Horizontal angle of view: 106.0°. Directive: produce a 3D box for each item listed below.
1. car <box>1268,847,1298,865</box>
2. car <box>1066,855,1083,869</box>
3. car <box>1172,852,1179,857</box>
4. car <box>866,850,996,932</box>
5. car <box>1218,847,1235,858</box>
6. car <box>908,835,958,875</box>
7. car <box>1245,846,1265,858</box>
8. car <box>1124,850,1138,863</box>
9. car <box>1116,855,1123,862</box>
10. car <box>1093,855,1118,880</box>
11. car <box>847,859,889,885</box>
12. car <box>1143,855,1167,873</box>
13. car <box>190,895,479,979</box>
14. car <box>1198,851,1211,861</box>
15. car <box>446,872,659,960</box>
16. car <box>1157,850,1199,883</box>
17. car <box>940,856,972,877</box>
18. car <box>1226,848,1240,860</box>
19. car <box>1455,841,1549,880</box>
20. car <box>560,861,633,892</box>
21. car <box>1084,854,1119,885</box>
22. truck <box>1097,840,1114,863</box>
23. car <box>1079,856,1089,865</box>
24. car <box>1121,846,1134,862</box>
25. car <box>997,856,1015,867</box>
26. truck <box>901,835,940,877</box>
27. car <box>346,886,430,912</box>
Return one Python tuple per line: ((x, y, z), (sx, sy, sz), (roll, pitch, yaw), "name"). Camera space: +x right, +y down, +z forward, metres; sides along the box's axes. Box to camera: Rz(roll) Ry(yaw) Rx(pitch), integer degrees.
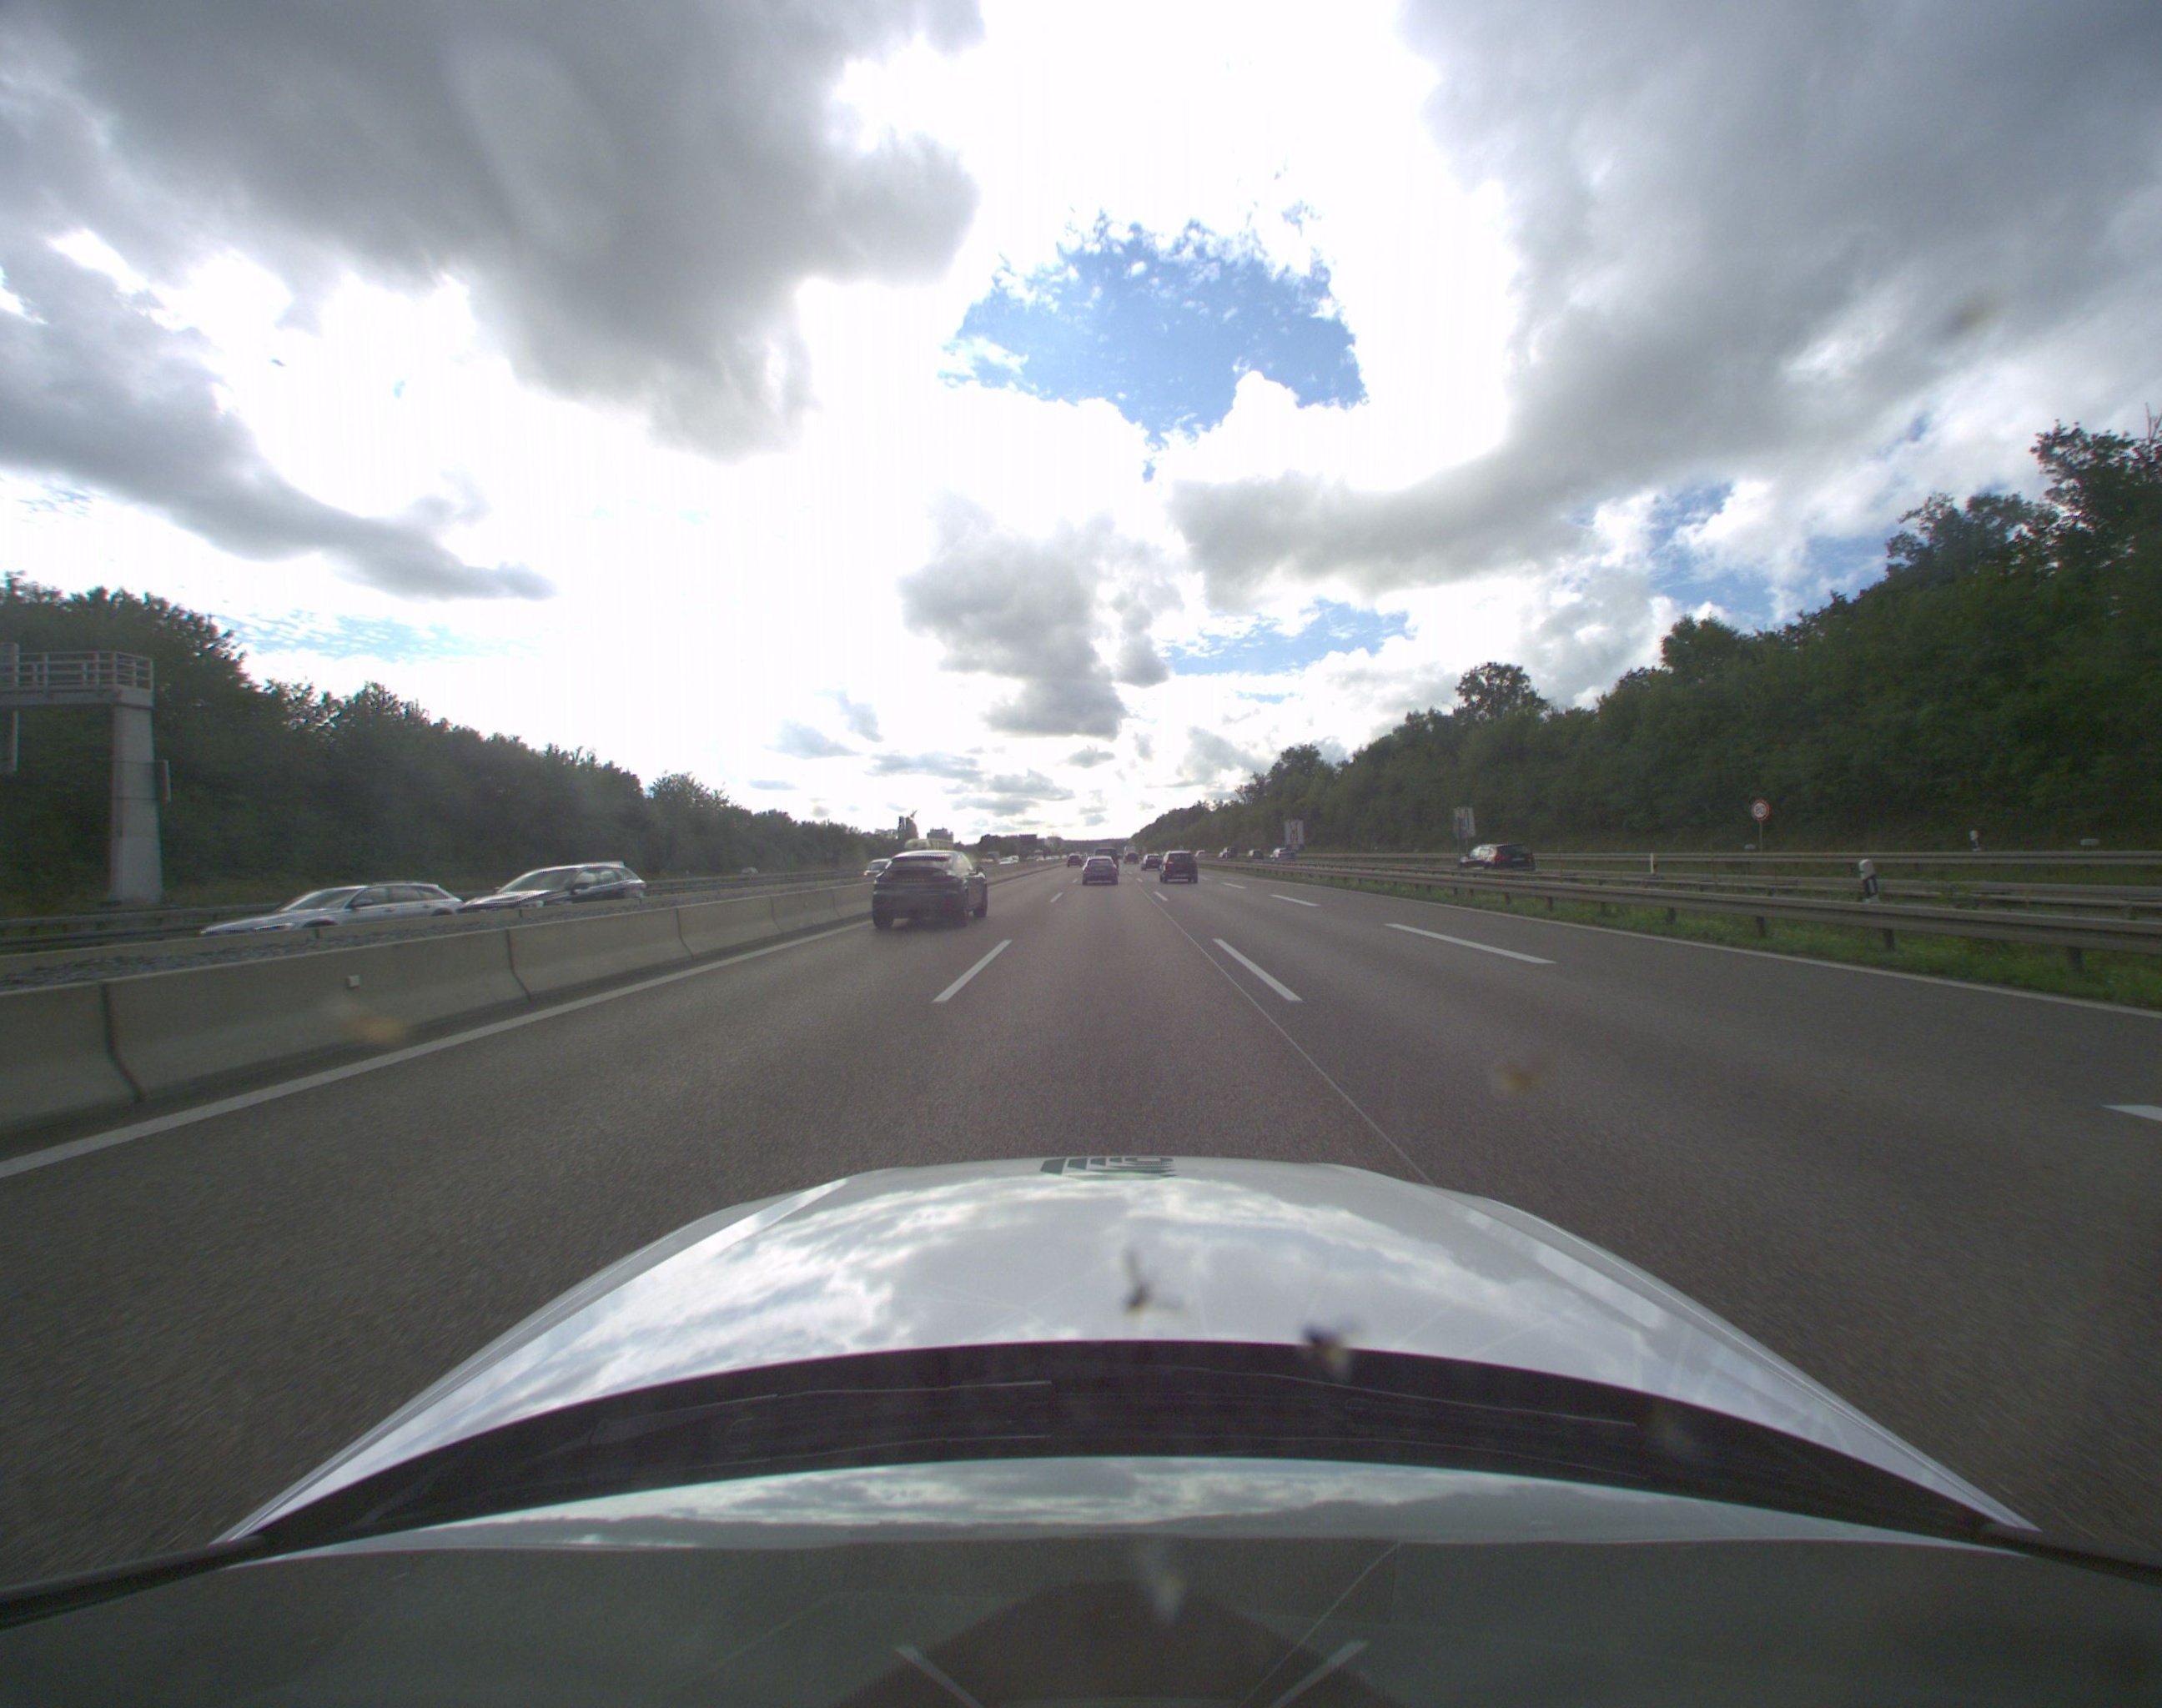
((19.733, 0.186, 79.690), (1.840, 1.650, 4.307), (-3, 0, 2), "car")
((-0.773, 0.987, 101.001), (1.866, 1.698, 4.073), (-1, 0, 1), "car")
((27.818, 0.236, 239.357), (1.746, 1.517, 4.190), (-1, 0, 1), "car")
((-3.366, 0.757, 19.419), (1.905, 1.636, 5.502), (-1, 0, 1), "car")
((20.446, -0.182, 114.711), (1.590, 1.546, 4.189), (-1, 0, 0), "car")
((-17.363, 0.129, 96.931), (2.895, 4.325, 14.149), (-2, 0, 1), "car")
((23.952, -0.222, 112.388), (1.723, 1.546, 4.305), (-3, 0, 0), "car")
((7.462, 0.371, 121.028), (1.906, 1.919, 4.031), (-1, 0, 1), "car")
((10.103, 1.202, 215.864), (1.745, 1.695, 4.191), (-1, 0, 1), "car")
((1.766, 0.966, 59.363), (1.714, 1.724, 4.392), (-1, 0, 1), "car")
((-14.540, 1.193, 55.860), (1.588, 1.611, 4.465), (-1, 0, 1), "car")
((6.644, 0.876, 73.388), (1.825, 1.521, 4.226), (-1, 0, 1), "car")
((-15.515, 1.649, 17.369), (1.764, 1.294, 4.676), (-1, 0, 1), "car")
((21.958, 0.399, 144.790), (1.745, 1.695, 4.191), (-1, 0, 1), "car")
((-11.579, 1.270, 18.289), (1.765, 1.611, 4.466), (-1, 0, 1), "car")
((5.019, 0.623, 42.537), (1.691, 1.564, 4.114), (-1, 0, 1), "car")
((-9.983, 0.997, 65.356), (1.769, 1.572, 4.182), (-1, 0, 2), "car")
((25.098, 0.005, 134.738), (1.590, 1.804, 3.824), (-1, 0, 0), "car")
((18.286, 0.239, 35.625), (1.836, 1.484, 4.527), (-3, 0, 2), "car")
((-38.524, 1.720, 64.969), (1.985, 2.234, 5.894), (-2, 0, 3), "car")
((1.058, 0.757, 41.885), (1.714, 1.479, 4.392), (-1, 0, 1), "car")
((4.738, -0.461, 157.369), (3.251, 4.375, 11.030), (0, 0, 2), "truck")
((0.632, 1.176, 144.706), (1.691, 1.611, 4.114), (-1, 0, 1), "car")
((7.274, -0.004, 127.938), (1.866, 2.357, 4.283), (-1, 0, 1), "car")
((-9.483, 0.940, 103.609), (1.660, 1.401, 4.535), (-2, 0, 2), "car")
((-17.599, 0.194, 89.559), (2.886, 4.323, 5.164), (-2, 0, 2), "truck")
((-38.922, 2.510, 45.853), (1.460, 1.218, 3.761), (-2, 0, 1), "car")
